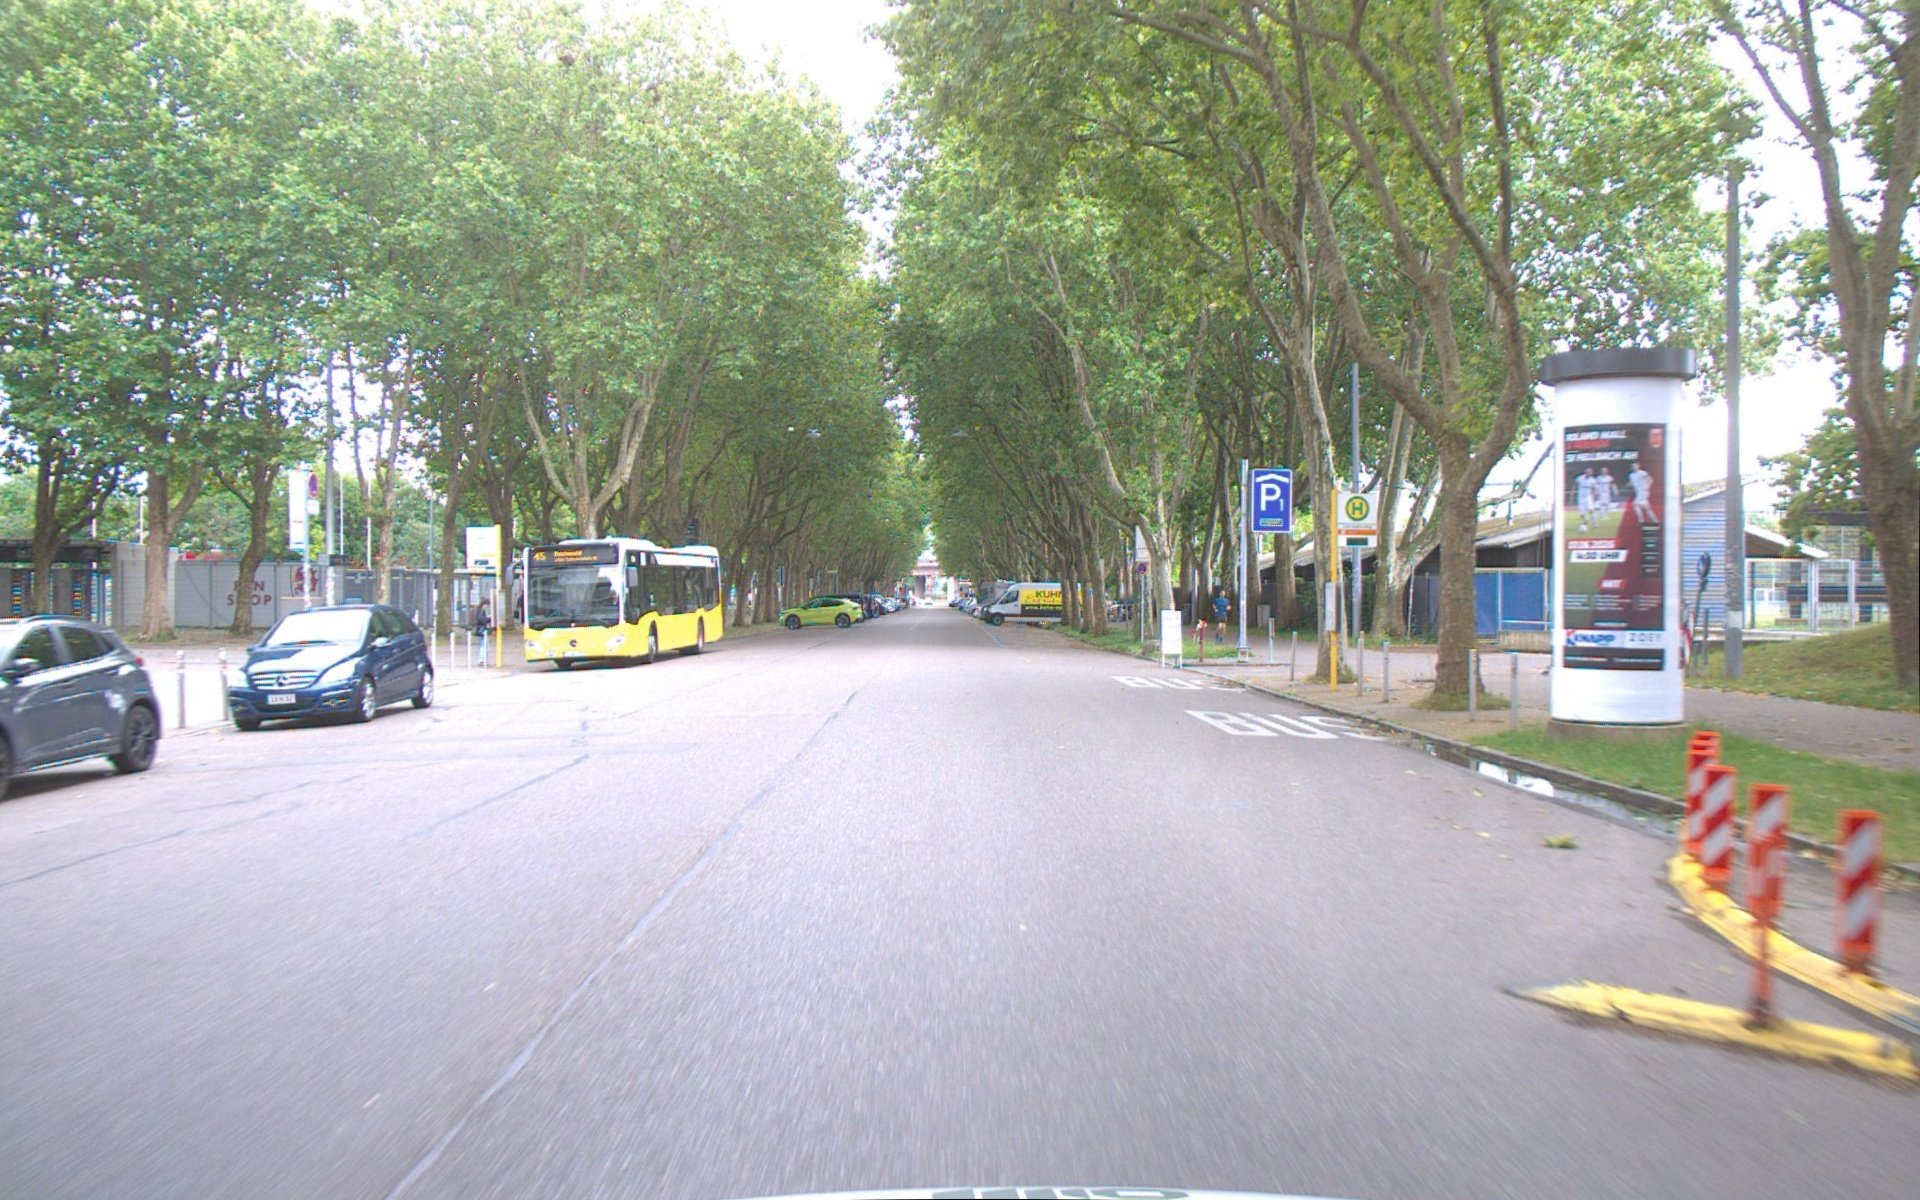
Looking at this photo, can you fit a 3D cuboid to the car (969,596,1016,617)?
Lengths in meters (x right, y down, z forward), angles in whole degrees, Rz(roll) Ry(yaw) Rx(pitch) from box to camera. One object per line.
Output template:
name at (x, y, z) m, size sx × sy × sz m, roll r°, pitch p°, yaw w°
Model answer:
car at (2.750, 0.542, 139.012) m, size 3.906 × 1.825 × 1.542 m, roll 0°, pitch 0°, yaw -2°

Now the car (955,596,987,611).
car at (1.382, 0.426, 204.113) m, size 3.905 × 1.894 × 1.637 m, roll 0°, pitch 0°, yaw 0°

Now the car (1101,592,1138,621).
car at (10.134, 0.402, 105.078) m, size 1.953 × 1.803 × 4.000 m, roll 0°, pitch 0°, yaw 0°

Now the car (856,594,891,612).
car at (-10.001, 0.347, 192.478) m, size 3.904 × 2.049 × 1.826 m, roll 0°, pitch 0°, yaw 2°

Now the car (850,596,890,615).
car at (-8.296, 0.523, 153.172) m, size 3.584 × 1.772 × 1.507 m, roll 0°, pitch 0°, yaw 2°

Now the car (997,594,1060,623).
car at (4.302, 0.542, 103.686) m, size 3.904 × 1.819 × 1.520 m, roll 0°, pitch 0°, yaw 1°

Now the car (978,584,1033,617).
car at (3.264, 0.036, 118.430) m, size 3.906 × 2.380 × 1.542 m, roll 0°, pitch 0°, yaw -2°

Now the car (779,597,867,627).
car at (-7.459, 0.648, 90.163) m, size 4.604 × 1.612 × 1.864 m, roll 0°, pitch 0°, yaw 0°

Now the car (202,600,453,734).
car at (-8.888, 0.876, 23.644) m, size 1.953 × 1.612 × 4.113 m, roll -3°, pitch 0°, yaw 0°

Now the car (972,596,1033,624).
car at (2.775, 0.666, 107.781) m, size 3.906 × 1.825 × 1.542 m, roll 0°, pitch 0°, yaw -2°

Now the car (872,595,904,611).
car at (-8.863, 0.363, 204.176) m, size 3.905 × 2.004 × 2.000 m, roll 0°, pitch 0°, yaw 0°

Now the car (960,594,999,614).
car at (1.775, 0.380, 153.559) m, size 3.548 × 1.825 × 1.542 m, roll 0°, pitch 0°, yaw -2°

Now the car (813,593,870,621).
car at (-7.867, 0.464, 109.952) m, size 3.705 × 1.825 × 1.542 m, roll 0°, pitch 0°, yaw -2°

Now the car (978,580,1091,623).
car at (4.510, 0.094, 100.359) m, size 6.687 × 2.557 × 2.315 m, roll 0°, pitch 0°, yaw -3°

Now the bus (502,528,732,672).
bus at (-8.825, -0.015, 44.667) m, size 2.975 × 3.215 × 12.681 m, roll -2°, pitch 0°, yaw 2°

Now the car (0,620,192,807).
car at (-8.883, 1.012, 14.882) m, size 1.820 × 1.478 × 4.448 m, roll -3°, pitch 0°, yaw 0°

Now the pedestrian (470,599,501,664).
pedestrian at (-11.945, 0.788, 41.615) m, size 0.659 × 1.631 × 0.606 m, roll 0°, pitch 0°, yaw -26°

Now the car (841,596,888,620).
car at (-7.732, 0.642, 134.038) m, size 3.584 × 1.896 × 1.625 m, roll 0°, pitch 0°, yaw 2°

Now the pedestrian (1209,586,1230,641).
pedestrian at (9.178, 0.468, 58.550) m, size 0.562 × 1.921 × 0.616 m, roll 0°, pitch 0°, yaw -9°
